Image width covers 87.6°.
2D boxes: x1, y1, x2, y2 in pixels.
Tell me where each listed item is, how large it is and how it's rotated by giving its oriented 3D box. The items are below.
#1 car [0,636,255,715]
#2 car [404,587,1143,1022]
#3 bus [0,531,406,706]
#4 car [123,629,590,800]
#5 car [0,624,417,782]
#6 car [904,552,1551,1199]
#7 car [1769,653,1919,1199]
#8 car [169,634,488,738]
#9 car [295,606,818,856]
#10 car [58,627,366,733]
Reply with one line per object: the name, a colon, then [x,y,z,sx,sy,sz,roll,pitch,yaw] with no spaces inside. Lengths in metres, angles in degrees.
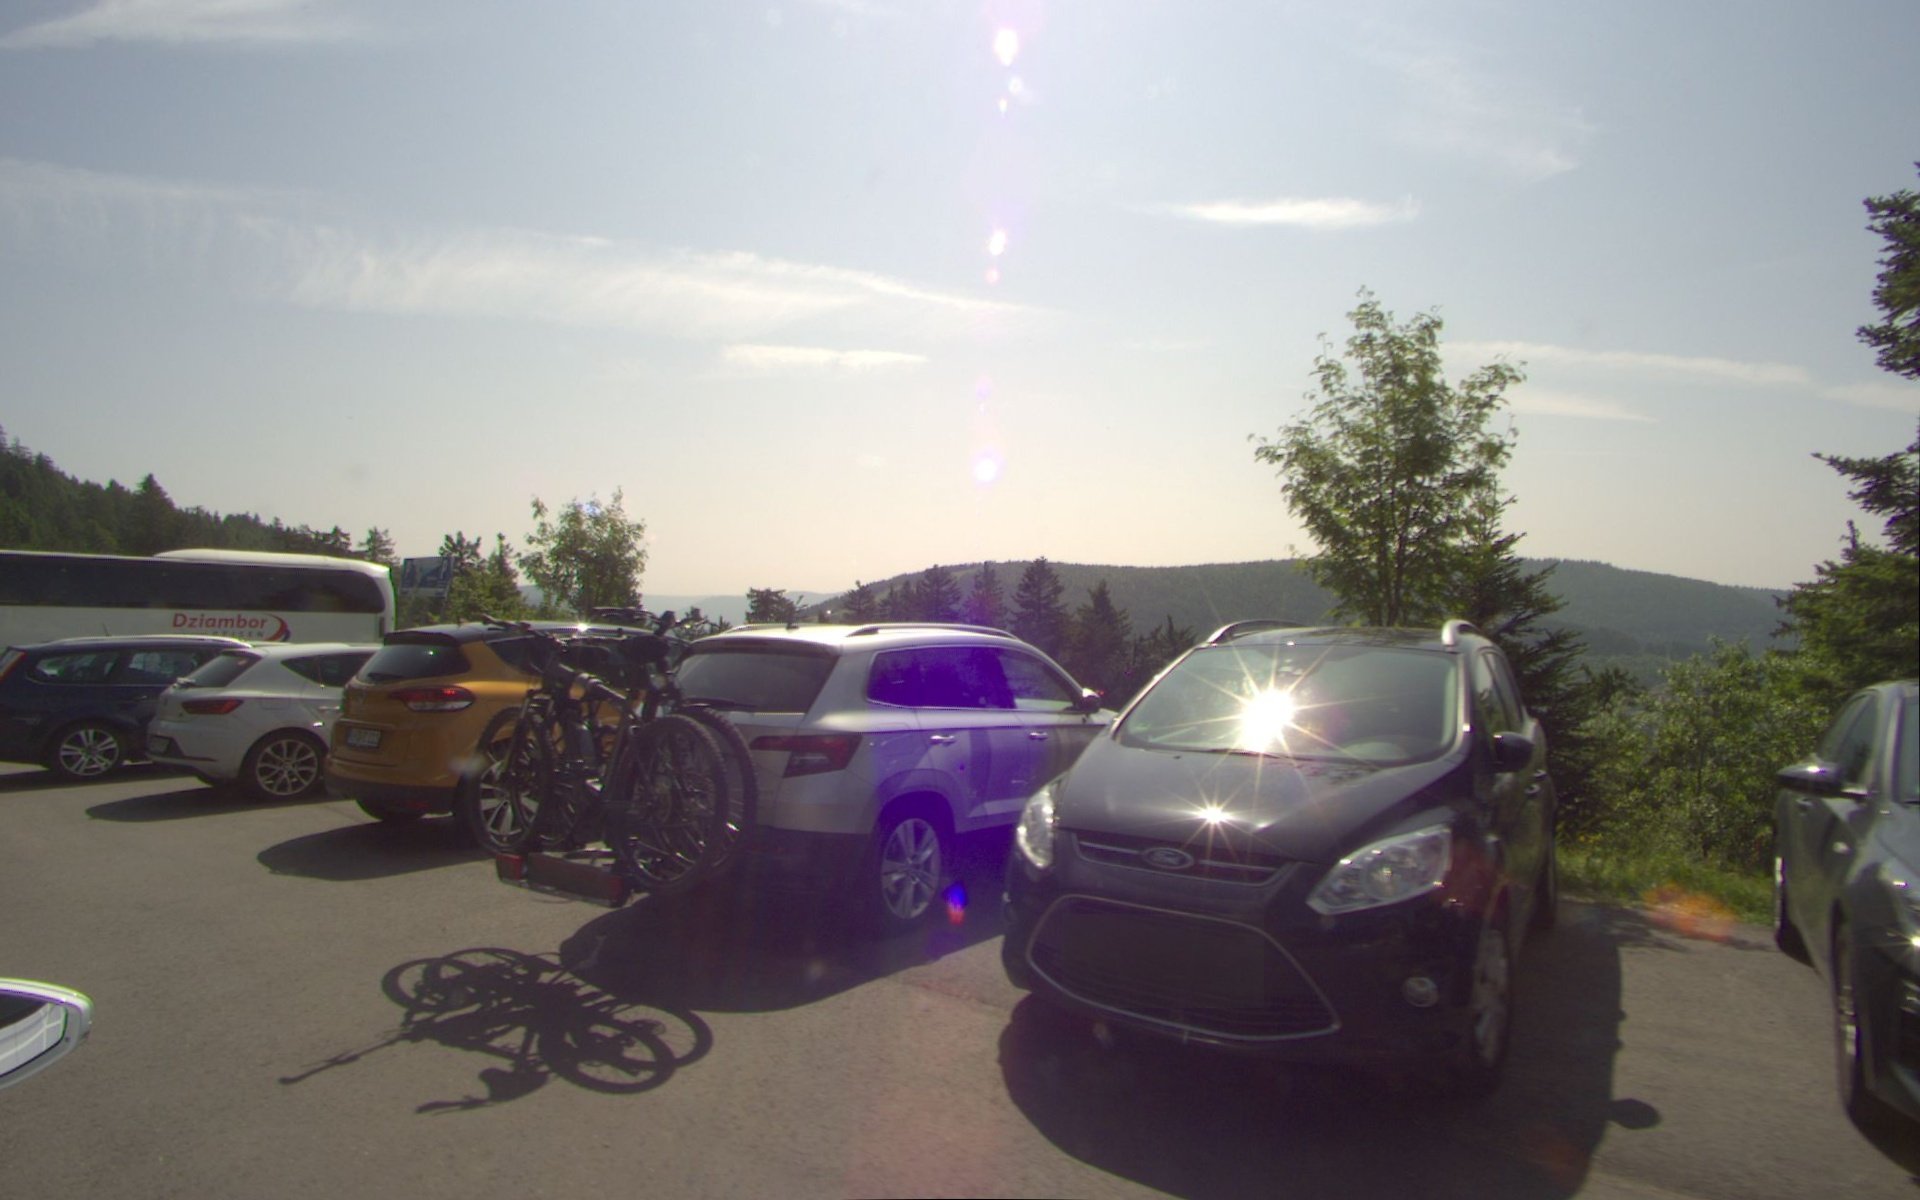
car: [-16.703,1.437,19.730,4.395,1.414,1.702,3,-3,-43]
car: [-0.670,0.912,6.246,1.985,1.647,4.468,-1,-3,33]
bus: [-19.942,0.444,22.611,2.810,3.623,12.772,-1,-2,44]
car: [-6.070,1.108,10.504,1.593,1.437,3.873,-2,-5,36]
car: [-8.956,1.100,11.873,1.652,1.563,4.114,-1,-2,40]
car: [1.751,0.859,4.867,1.728,1.638,4.412,0,-4,33]
car: [4.219,0.993,3.726,1.668,1.449,4.303,0,-4,36]
car: [-9.944,1.314,15.991,1.747,1.437,3.968,-1,-4,42]
car: [-3.203,0.996,8.665,1.687,1.635,3.869,0,-4,35]
car: [-12.705,1.316,17.193,1.747,1.593,3.968,-1,-3,42]
